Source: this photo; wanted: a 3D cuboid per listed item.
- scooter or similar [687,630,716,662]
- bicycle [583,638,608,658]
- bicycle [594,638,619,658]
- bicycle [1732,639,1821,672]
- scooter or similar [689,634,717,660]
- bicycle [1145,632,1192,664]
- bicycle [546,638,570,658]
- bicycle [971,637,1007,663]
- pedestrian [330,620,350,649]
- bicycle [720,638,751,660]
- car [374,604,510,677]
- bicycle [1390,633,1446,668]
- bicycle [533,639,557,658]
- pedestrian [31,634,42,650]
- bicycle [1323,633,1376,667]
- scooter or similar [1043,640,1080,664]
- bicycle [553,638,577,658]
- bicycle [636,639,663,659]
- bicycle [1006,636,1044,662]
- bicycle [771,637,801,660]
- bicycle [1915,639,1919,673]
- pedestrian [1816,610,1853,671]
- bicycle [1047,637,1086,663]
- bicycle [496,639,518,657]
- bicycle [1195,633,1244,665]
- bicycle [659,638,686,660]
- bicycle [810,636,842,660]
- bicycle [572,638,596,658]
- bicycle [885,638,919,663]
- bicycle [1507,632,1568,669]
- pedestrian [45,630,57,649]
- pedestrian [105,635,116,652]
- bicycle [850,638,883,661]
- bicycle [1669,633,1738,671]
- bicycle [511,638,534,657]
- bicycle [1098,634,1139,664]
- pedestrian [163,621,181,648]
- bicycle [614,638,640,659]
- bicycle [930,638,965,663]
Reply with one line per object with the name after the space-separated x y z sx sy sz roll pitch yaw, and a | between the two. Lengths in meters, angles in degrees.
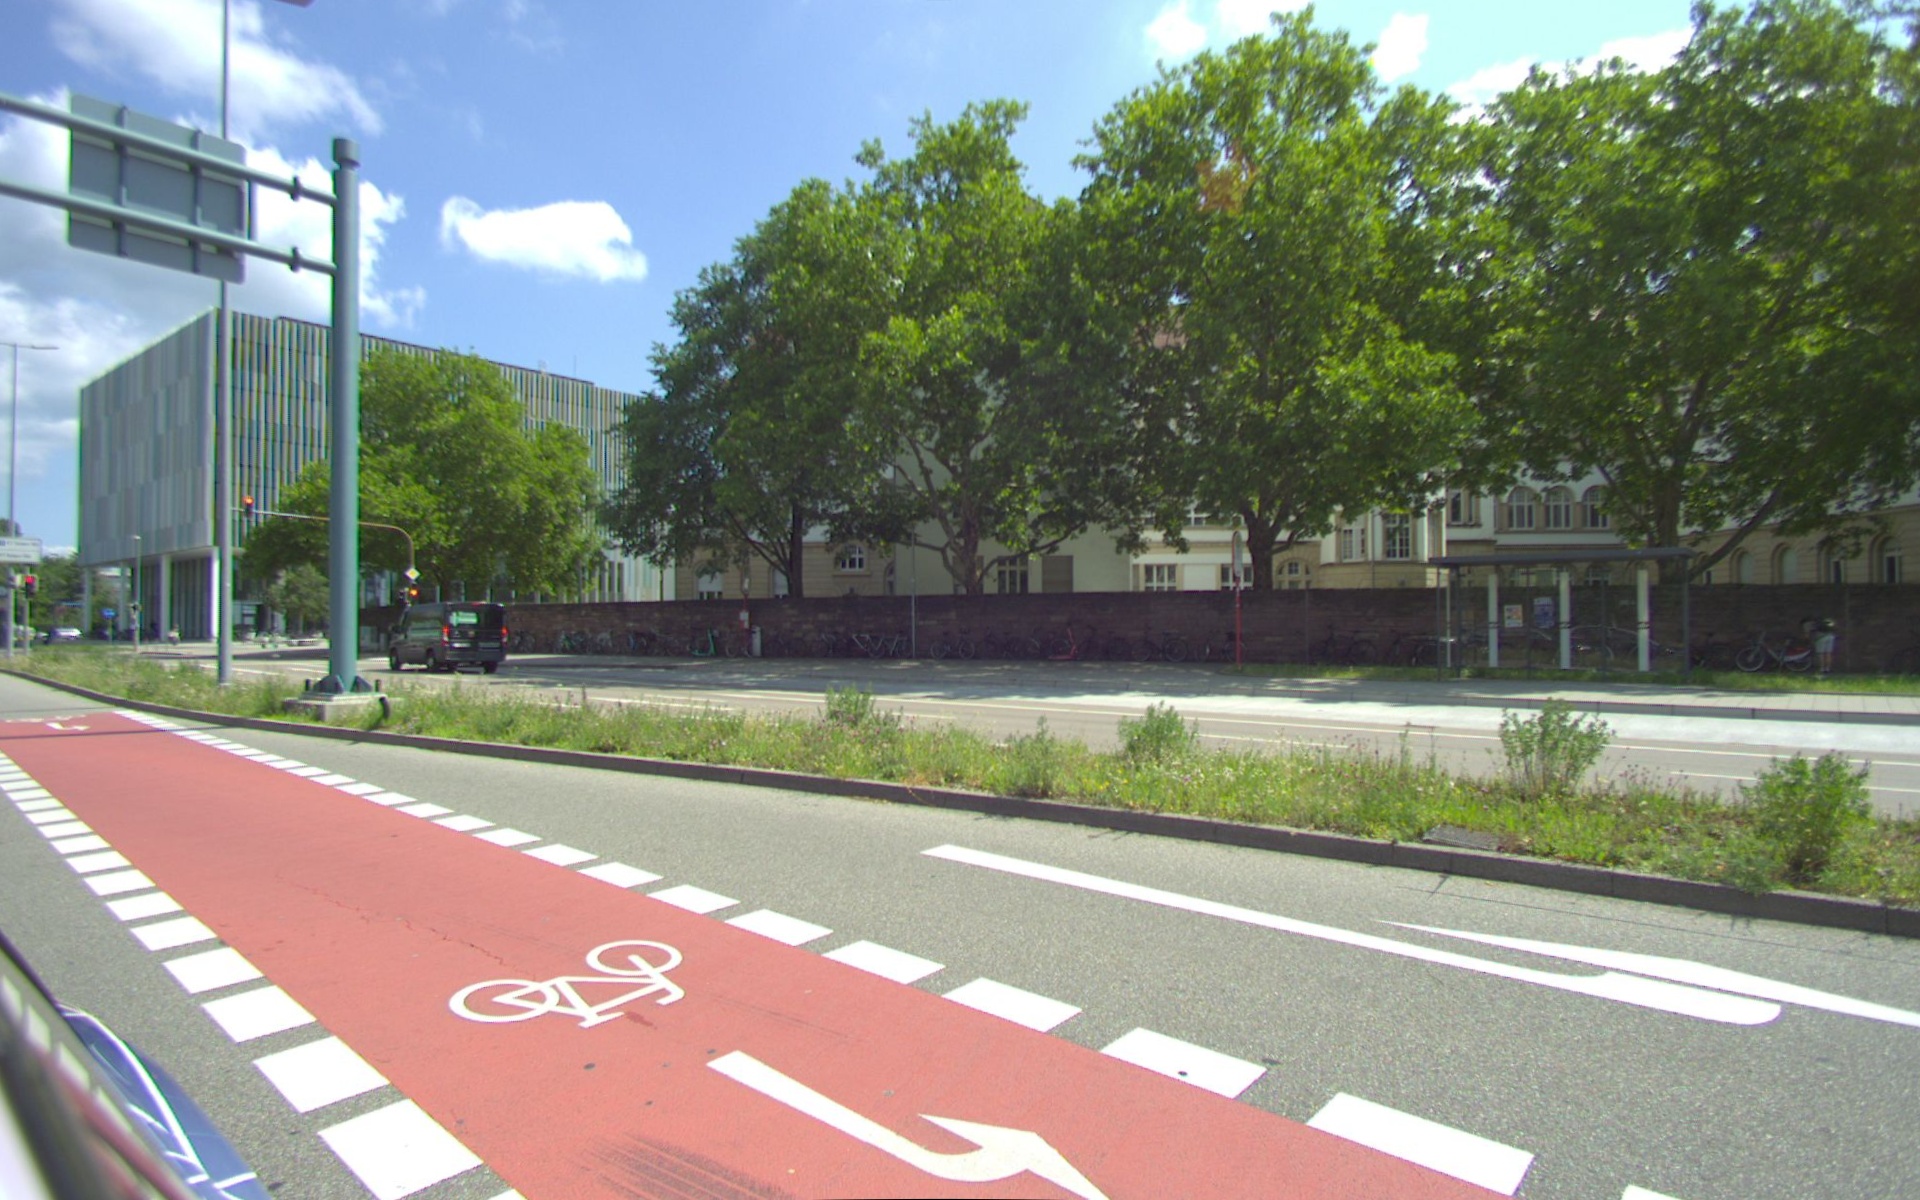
-9.914 1.757 38.846 1.230 1.199 0.262 -1 -2 29 | scooter or similar
-15.329 2.004 42.564 1.230 0.837 0.262 -1 -2 29 | bicycle
-14.982 2.016 42.888 1.231 0.837 0.262 -2 -2 30 | bicycle
20.744 1.406 25.727 1.734 0.823 0.327 -1 -2 18 | bicycle
-10.143 1.845 39.927 1.133 1.028 0.264 -1 -2 19 | scooter or similar
6.400 1.476 31.042 1.385 0.972 0.263 -1 -2 20 | bicycle
-17.477 2.094 43.980 1.230 0.837 0.262 -1 -2 29 | bicycle
0.961 1.662 33.725 1.230 0.837 0.262 -1 -2 28 | bicycle
-43.488 2.402 70.969 0.864 2.029 0.981 -2 -2 41 | pedestrian
-8.645 1.886 38.957 1.226 0.837 0.263 -1 -2 19 | bicycle
-16.931 1.344 32.966 5.014 2.192 2.126 -2 -4 40 | car
12.864 1.405 28.425 1.384 0.972 0.263 -1 -2 18 | bicycle
-18.594 2.162 45.317 1.230 0.837 0.262 -1 -2 29 | bicycle
-84.079 3.855 92.168 0.686 1.464 0.689 1 -3 -45 | pedestrian
11.179 1.427 29.038 1.384 0.972 0.263 -1 -2 18 | bicycle
3.179 1.629 31.814 1.133 0.734 0.264 -1 -2 18 | scooter or similar
-17.405 2.111 44.567 1.230 0.837 0.262 -1 -2 29 | bicycle
-12.730 2.007 41.492 1.231 0.837 0.262 -2 -2 30 | bicycle
2.133 1.610 33.076 1.230 0.837 0.262 -1 -2 28 | bicycle
-6.469 1.810 37.573 1.231 0.837 0.262 -1 -2 30 | bicycle
24.441 1.357 24.608 1.734 0.823 0.382 -1 -2 18 | bicycle
21.438 0.991 24.822 0.633 1.484 0.504 -2 -2 39 | pedestrian
3.409 1.594 32.464 1.230 0.837 0.262 -1 -2 28 | bicycle
-21.051 2.217 46.975 1.231 0.837 0.262 -2 -2 30 | bicycle
7.807 1.470 30.422 1.389 0.972 0.262 -1 -2 28 | bicycle
-11.516 1.966 40.585 1.231 0.837 0.262 -2 -2 30 | bicycle
-4.889 1.741 36.864 1.231 0.837 0.262 -1 -2 30 | bicycle
-16.265 2.082 43.733 1.231 0.837 0.262 -2 -2 30 | bicycle
-2.014 1.751 35.123 1.231 0.837 0.262 -1 -2 30 | bicycle
15.631 1.369 27.394 1.384 0.972 0.263 -1 -2 18 | bicycle
-83.028 3.641 92.437 0.705 1.704 0.783 -2 -2 42 | pedestrian
-74.683 3.796 88.990 0.686 1.464 0.689 1 -2 -43 | pedestrian
-3.322 1.753 35.916 1.231 0.837 0.262 -1 -2 30 | bicycle
19.231 1.346 26.196 1.384 0.972 0.263 -1 -2 18 | bicycle
-19.970 2.178 46.205 1.230 0.837 0.262 -1 -2 29 | bicycle
4.955 1.523 31.621 1.230 0.915 0.262 -1 -2 28 | bicycle
-58.090 2.539 74.620 0.994 2.029 0.853 -2 -2 39 | pedestrian
-13.886 2.027 42.223 1.231 0.837 0.262 -2 -2 30 | bicycle
-0.431 1.696 34.284 1.230 0.837 0.262 -1 -2 28 | bicycle
